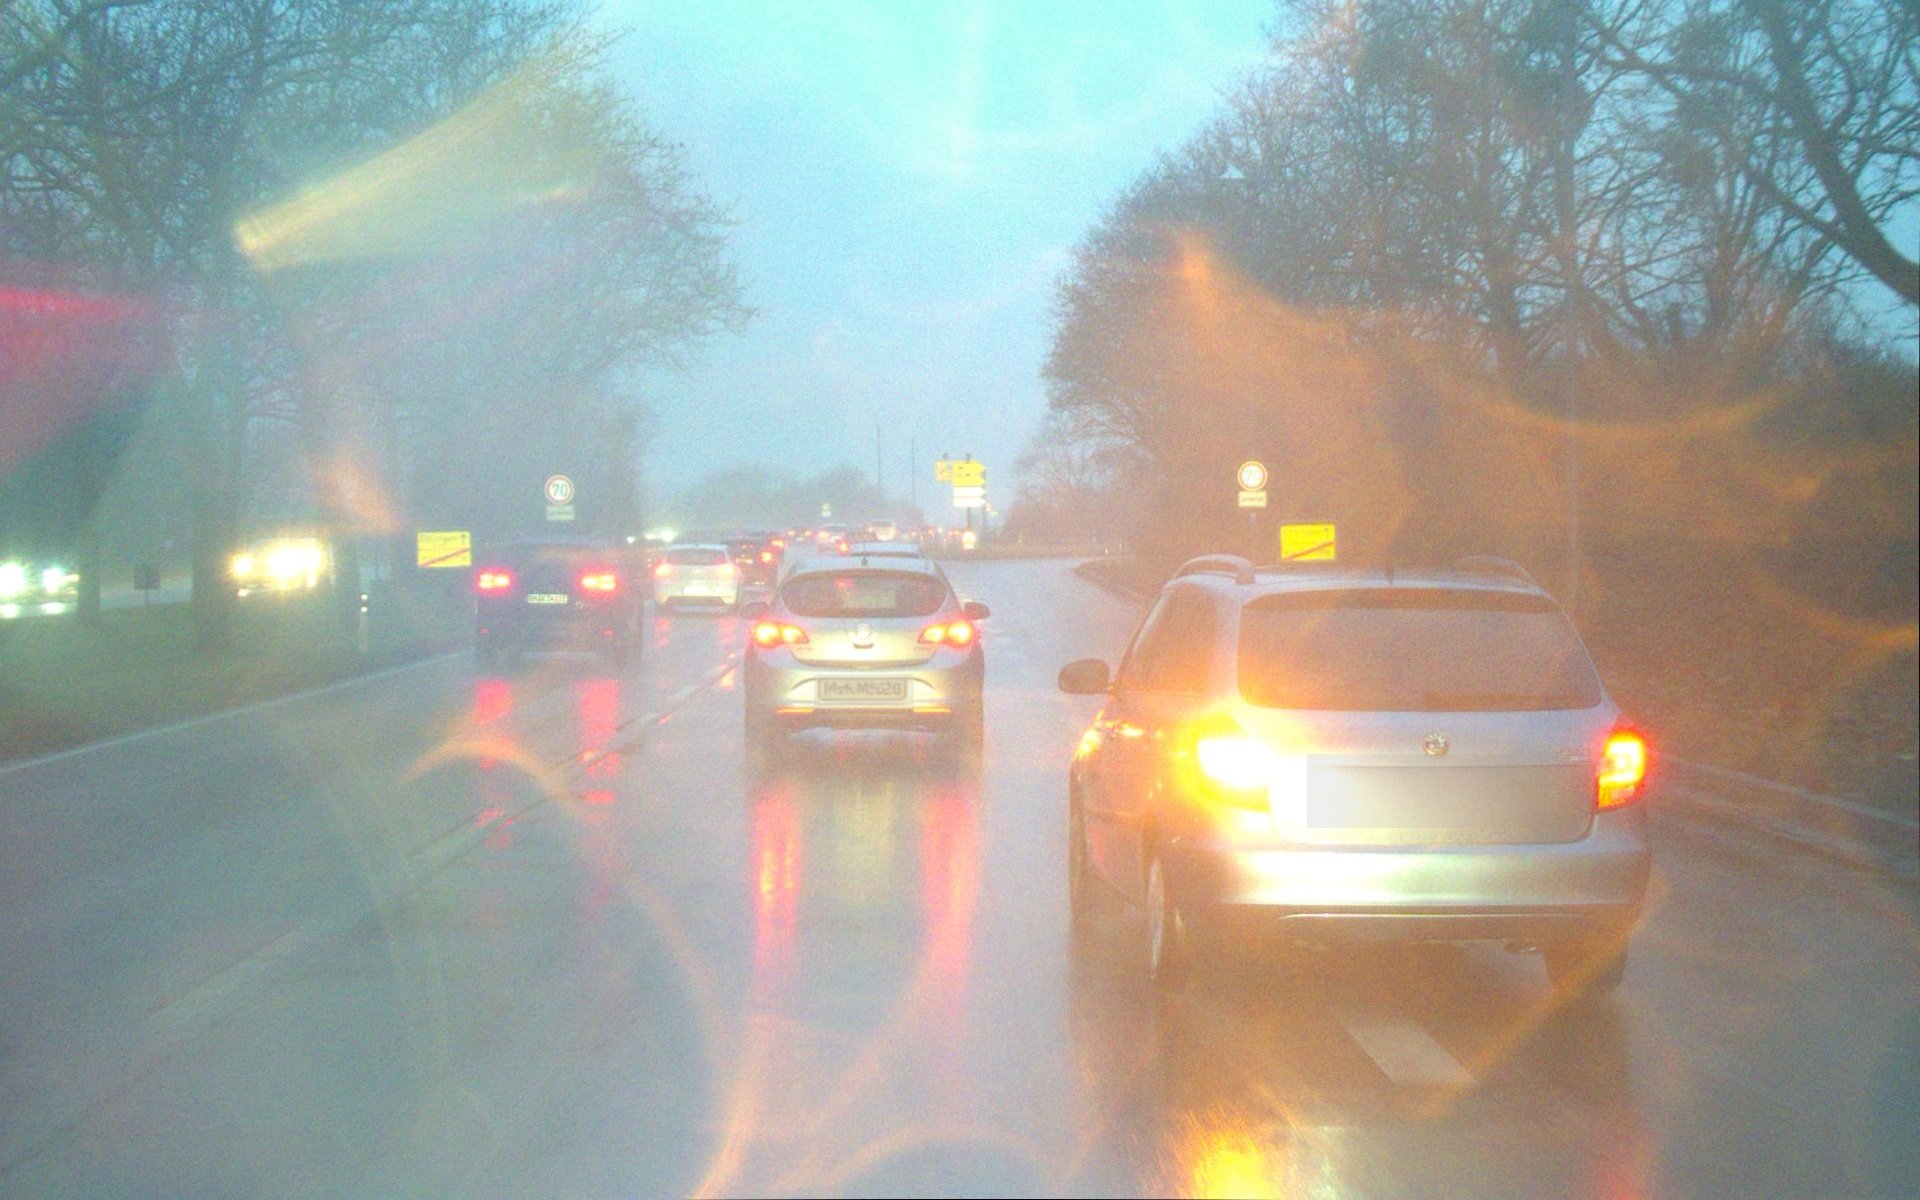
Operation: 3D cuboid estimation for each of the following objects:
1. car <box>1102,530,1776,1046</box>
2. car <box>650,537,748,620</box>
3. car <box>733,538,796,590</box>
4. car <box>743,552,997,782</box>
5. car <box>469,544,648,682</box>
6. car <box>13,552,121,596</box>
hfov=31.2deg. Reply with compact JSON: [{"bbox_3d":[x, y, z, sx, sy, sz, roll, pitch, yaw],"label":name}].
[{"bbox_3d":[1.647,0.624,13.390,1.933,1.642,4.466,1,0,-1],"label":"car"},{"bbox_3d":[-5.337,-0.427,70.590,1.822,1.642,4.000,0,0,-2],"label":"car"},{"bbox_3d":[-5.209,-0.949,91.886,1.505,1.334,4.000,0,0,-1],"label":"car"},{"bbox_3d":[-0.678,0.503,27.278,1.822,1.642,4.466,1,0,-1],"label":"car"},{"bbox_3d":[-5.018,0.154,43.410,1.822,1.642,4.000,0,0,-1],"label":"car"},{"bbox_3d":[-25.307,-0.725,97.555,1.993,1.187,4.000,1,0,0],"label":"car"}]
